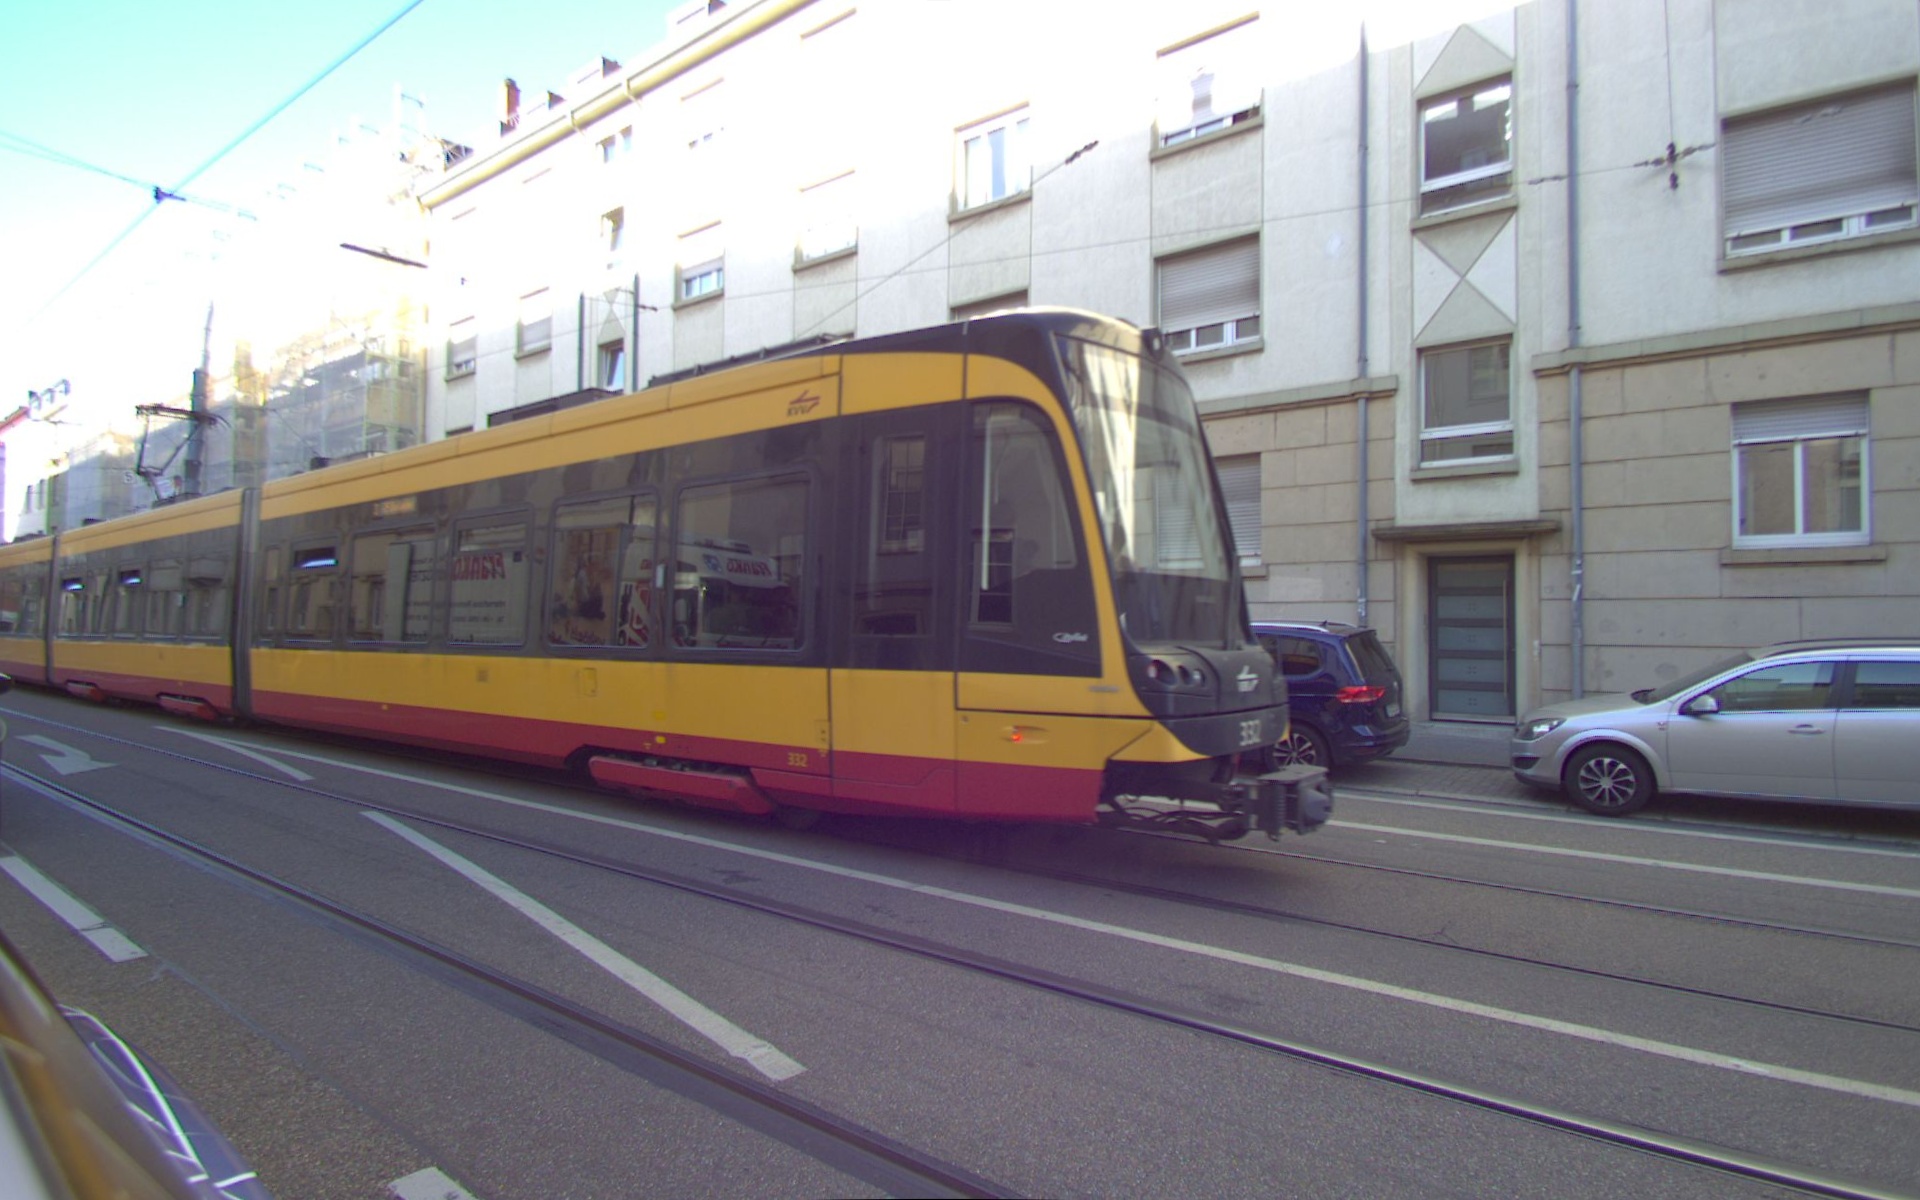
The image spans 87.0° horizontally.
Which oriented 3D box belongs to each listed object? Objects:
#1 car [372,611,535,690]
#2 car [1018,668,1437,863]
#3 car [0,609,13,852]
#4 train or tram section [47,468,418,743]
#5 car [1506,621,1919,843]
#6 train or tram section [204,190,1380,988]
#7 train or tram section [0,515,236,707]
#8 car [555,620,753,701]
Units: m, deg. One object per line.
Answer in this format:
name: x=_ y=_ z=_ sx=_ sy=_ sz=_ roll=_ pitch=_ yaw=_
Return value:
car: x=-11.466 y=1.065 z=22.815 sx=4.108 sy=1.603 sz=1.691 roll=-1 pitch=0 yaw=38
car: x=2.976 y=1.708 z=11.664 sx=4.285 sy=1.597 sz=1.887 roll=-1 pitch=0 yaw=37
car: x=-8.012 y=0.829 z=6.993 sx=3.997 sy=1.515 sz=1.670 roll=-2 pitch=-3 yaw=40
train or tram section: x=-12.809 y=0.119 z=17.371 sx=9.072 sy=3.658 sz=2.798 roll=-1 pitch=0 yaw=38
car: x=7.228 y=0.993 z=8.539 sx=4.358 sy=1.571 sz=1.975 roll=-1 pitch=0 yaw=38
train or tram section: x=-3.619 y=0.008 z=10.127 sx=14.245 sy=3.659 sz=2.718 roll=-1 pitch=0 yaw=38
train or tram section: x=-21.285 y=0.347 z=24.149 sx=12.613 sy=3.621 sz=3.032 roll=-1 pitch=-3 yaw=38
car: x=-5.596 y=1.034 z=18.383 sx=3.483 sy=1.286 sz=1.730 roll=-1 pitch=0 yaw=37
